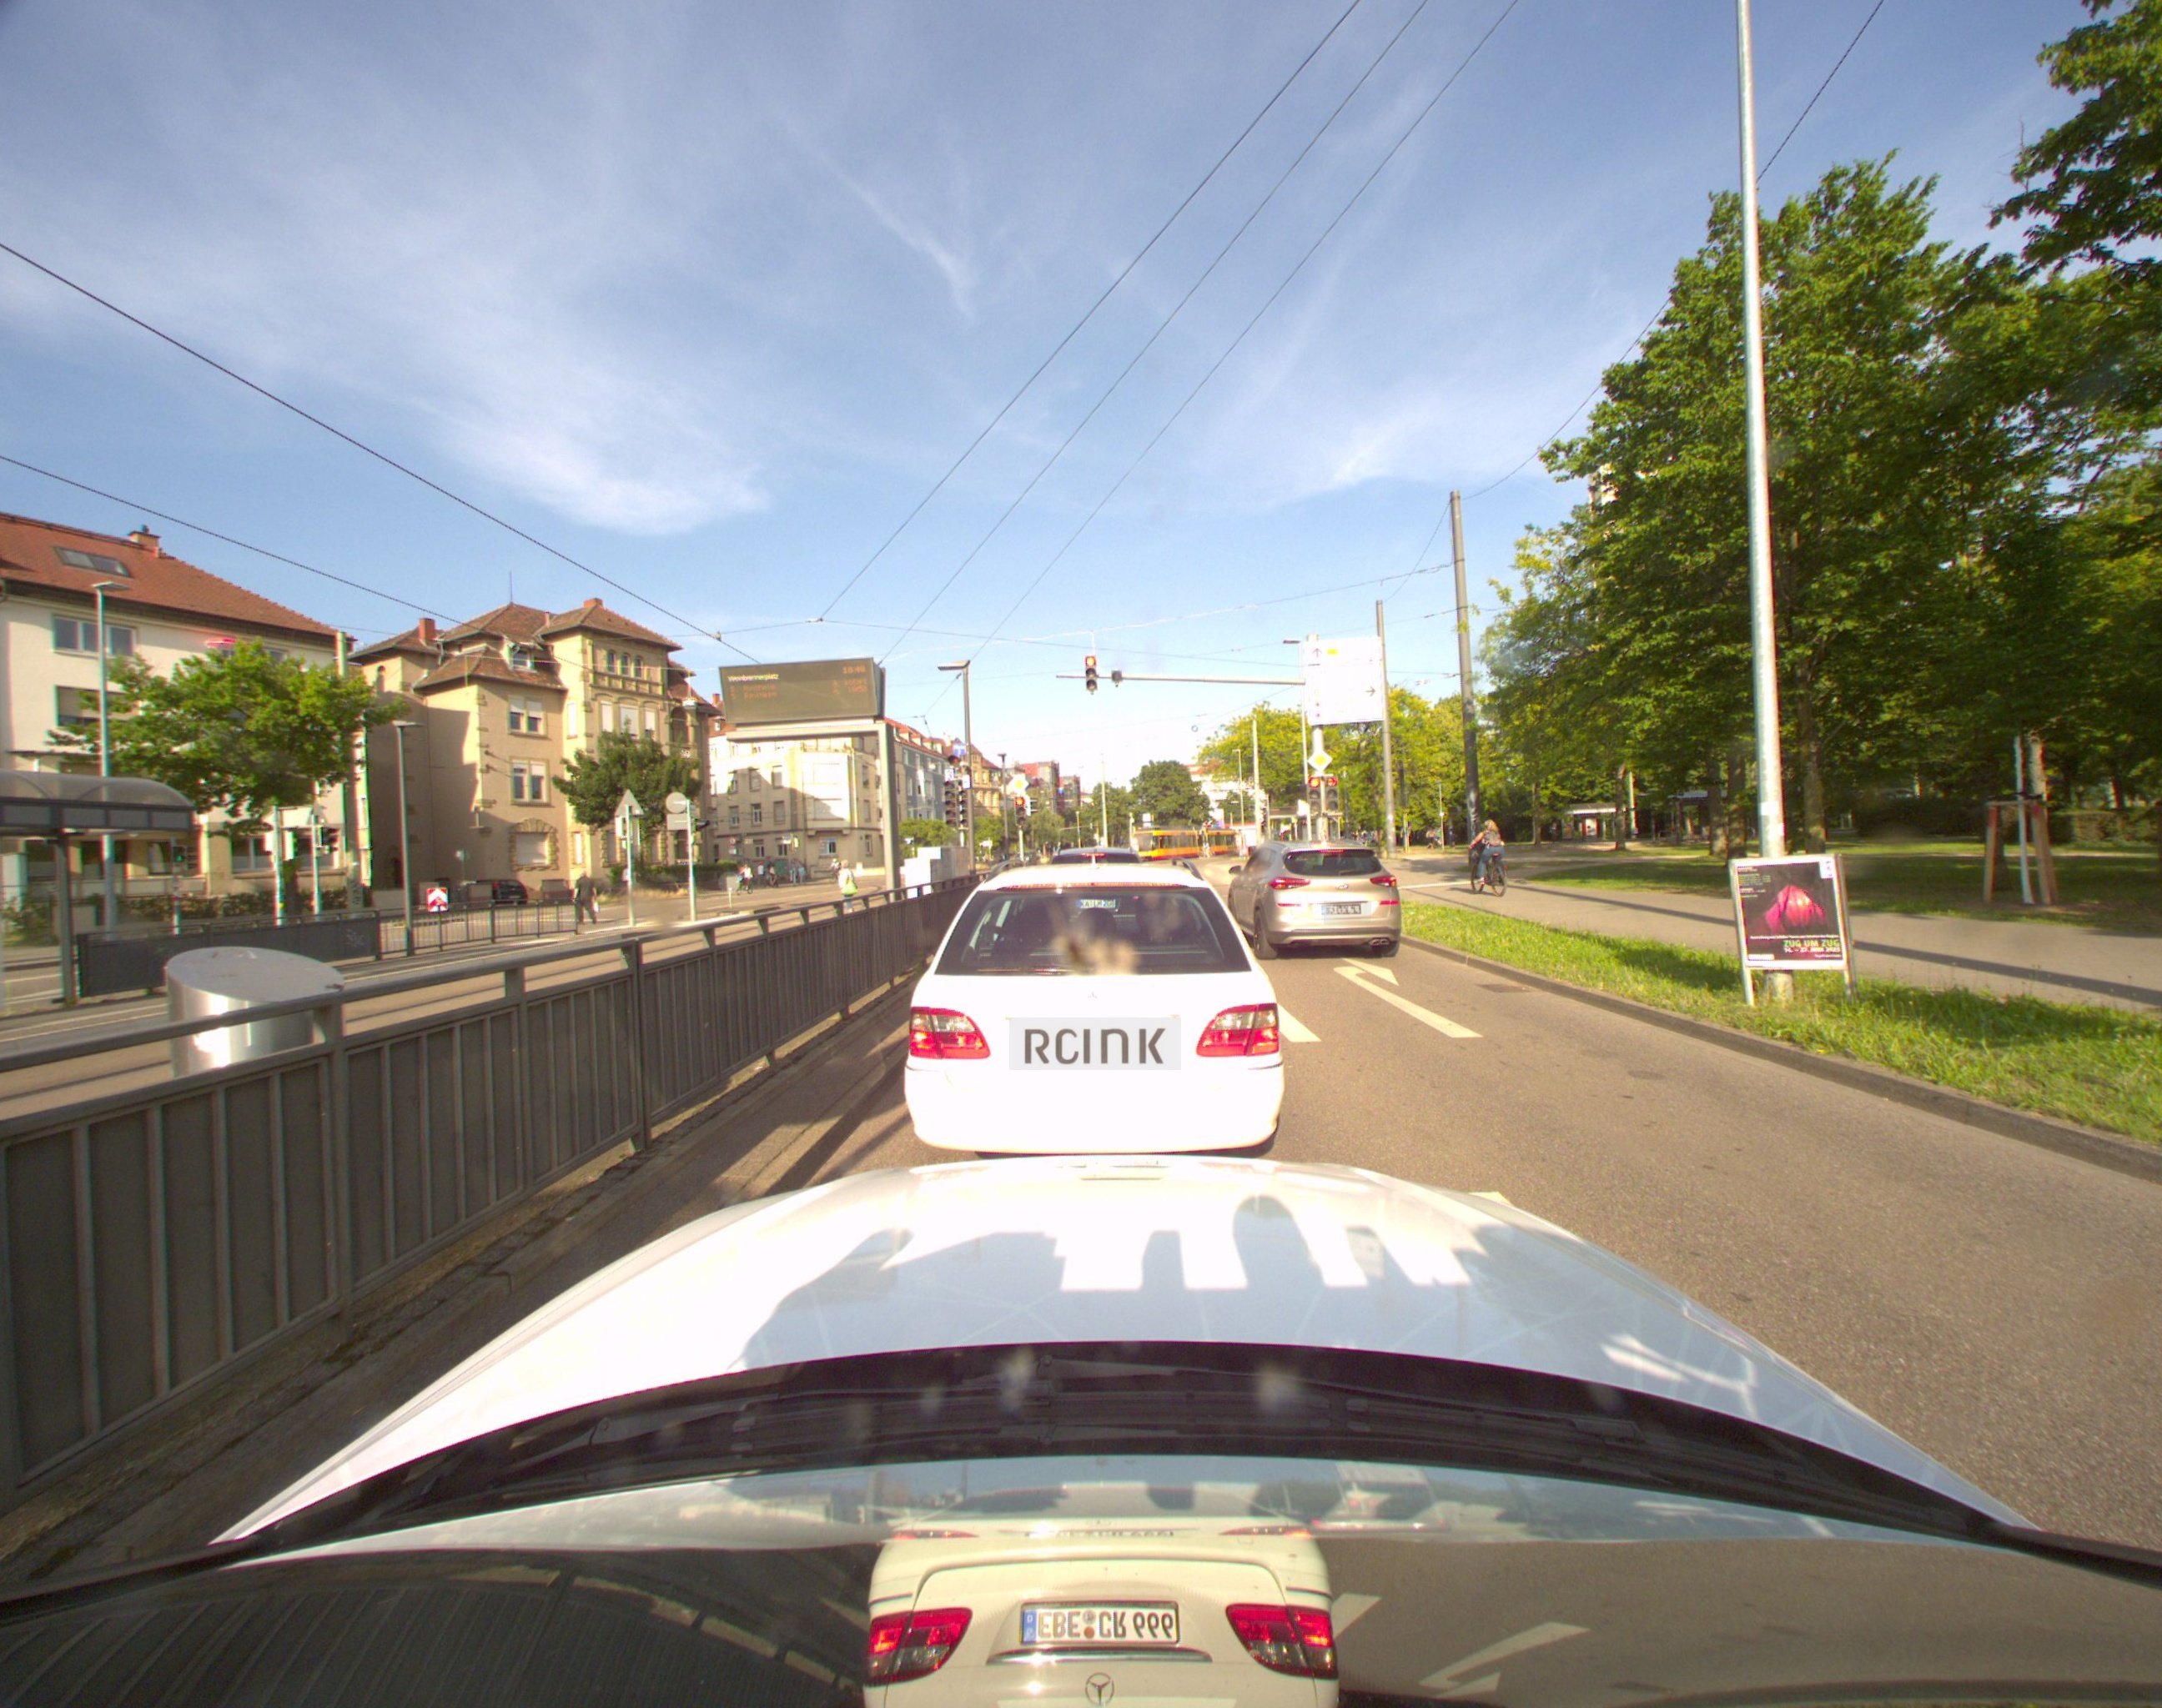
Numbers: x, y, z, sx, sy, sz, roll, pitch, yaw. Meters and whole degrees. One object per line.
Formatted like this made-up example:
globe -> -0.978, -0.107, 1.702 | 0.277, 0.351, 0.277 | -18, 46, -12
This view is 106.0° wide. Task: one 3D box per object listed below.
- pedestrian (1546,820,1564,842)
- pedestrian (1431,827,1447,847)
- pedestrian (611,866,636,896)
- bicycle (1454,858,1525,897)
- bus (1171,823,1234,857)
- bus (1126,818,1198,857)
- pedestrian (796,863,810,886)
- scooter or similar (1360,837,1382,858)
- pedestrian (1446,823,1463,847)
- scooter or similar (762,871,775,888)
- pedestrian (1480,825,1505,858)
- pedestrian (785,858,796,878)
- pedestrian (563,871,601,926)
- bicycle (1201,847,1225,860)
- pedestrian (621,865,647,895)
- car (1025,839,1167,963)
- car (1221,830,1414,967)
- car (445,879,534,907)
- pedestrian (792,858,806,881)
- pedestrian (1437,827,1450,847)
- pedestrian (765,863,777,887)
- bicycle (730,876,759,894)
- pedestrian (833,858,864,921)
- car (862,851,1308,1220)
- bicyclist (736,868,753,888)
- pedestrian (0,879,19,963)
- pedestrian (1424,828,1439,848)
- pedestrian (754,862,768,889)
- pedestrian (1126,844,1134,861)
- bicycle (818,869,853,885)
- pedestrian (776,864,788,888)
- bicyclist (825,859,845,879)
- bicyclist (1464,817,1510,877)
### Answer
pedestrian -> 35.873, -1.736, 61.642 | 0.831, 1.636, 0.804 | -3, 0, 8
pedestrian -> 28.098, -1.328, 63.887 | 0.813, 1.487, 0.698 | -3, 0, -9
pedestrian -> -24.643, 1.435, 43.855 | 0.822, 1.552, 0.786 | -3, 0, 23
bicycle -> 8.923, 0.489, 17.898 | 0.493, 0.757, 2.169 | -4, 0, 2
bus -> 14.063, -1.501, 93.046 | 3.079, 3.606, 12.667 | -1, -1, 28
bus -> 8.366, -1.512, 81.860 | 3.080, 3.606, 12.447 | -1, -1, 26
pedestrian -> -19.527, 1.428, 57.252 | 0.626, 1.541, 0.711 | -3, 0, 1
scooter or similar -> 16.172, -0.374, 45.402 | 0.421, 1.117, 1.322 | -3, 0, -18
pedestrian -> 29.113, -1.482, 63.507 | 0.797, 1.785, 0.838 | -3, 0, -2
scooter or similar -> -20.025, 1.617, 52.253 | 0.541, 1.079, 0.683 | -1, -1, 1
pedestrian -> 20.927, -0.622, 41.399 | 0.758, 1.636, 0.800 | -3, 0, -38
pedestrian -> -25.440, 1.241, 71.259 | 0.615, 1.660, 0.589 | -3, 0, 17
pedestrian -> -15.473, 1.372, 25.252 | 0.798, 1.645, 0.748 | -3, 0, -42
bicycle -> 13.832, -0.088, 85.206 | 2.467, 1.213, 0.809 | -3, 0, 9
pedestrian -> -23.837, 1.369, 43.455 | 0.822, 1.552, 0.786 | -3, 0, 23
car -> 0.267, 0.621, 12.679 | 1.878, 1.651, 3.649 | 0, 0, 2
car -> 3.331, 0.566, 12.222 | 1.878, 1.651, 3.649 | -3, 0, 2
car -> -29.459, 1.906, 40.568 | 4.066, 1.310, 1.774 | -1, -1, 24
pedestrian -> -24.994, 1.349, 72.126 | 0.768, 2.013, 0.790 | -3, 0, 17
pedestrian -> 27.763, -1.308, 62.382 | 0.805, 1.487, 0.705 | -3, 0, 26
pedestrian -> -19.637, 1.341, 51.584 | 0.434, 1.500, 0.551 | -3, 0, 16
bicycle -> -18.196, 1.660, 44.044 | 0.522, 0.834, 1.692 | -3, 0, 11
pedestrian -> -6.180, 0.934, 21.641 | 0.611, 1.599, 0.632 | -3, 0, -5
car -> 0.068, 0.737, 5.146 | 1.789, 1.470, 3.649 | -1, 0, 2
bicyclist -> -18.211, 1.296, 44.031 | 0.509, 1.044, 0.681 | -3, 0, 10
pedestrian -> -23.093, 1.430, 17.091 | 0.543, 1.746, 0.765 | -3, 0, 11
pedestrian -> 27.250, -1.246, 63.299 | 0.820, 1.487, 0.692 | -3, 0, -40
pedestrian -> -20.278, 1.348, 51.594 | 0.505, 1.626, 0.609 | -3, 0, 4
pedestrian -> 5.236, -0.176, 87.141 | 0.638, 1.857, 0.554 | -3, 0, 13
bicycle -> -16.296, 1.539, 54.237 | 0.779, 0.914, 3.009 | -3, 0, 14
pedestrian -> -19.394, 1.415, 52.878 | 0.530, 1.500, 0.391 | -3, 0, 16
bicyclist -> -16.378, 1.015, 54.252 | 0.758, 1.262, 1.179 | -3, 0, 13
bicyclist -> 8.876, -0.151, 17.825 | 0.532, 1.262, 0.869 | -3, 0, 2
